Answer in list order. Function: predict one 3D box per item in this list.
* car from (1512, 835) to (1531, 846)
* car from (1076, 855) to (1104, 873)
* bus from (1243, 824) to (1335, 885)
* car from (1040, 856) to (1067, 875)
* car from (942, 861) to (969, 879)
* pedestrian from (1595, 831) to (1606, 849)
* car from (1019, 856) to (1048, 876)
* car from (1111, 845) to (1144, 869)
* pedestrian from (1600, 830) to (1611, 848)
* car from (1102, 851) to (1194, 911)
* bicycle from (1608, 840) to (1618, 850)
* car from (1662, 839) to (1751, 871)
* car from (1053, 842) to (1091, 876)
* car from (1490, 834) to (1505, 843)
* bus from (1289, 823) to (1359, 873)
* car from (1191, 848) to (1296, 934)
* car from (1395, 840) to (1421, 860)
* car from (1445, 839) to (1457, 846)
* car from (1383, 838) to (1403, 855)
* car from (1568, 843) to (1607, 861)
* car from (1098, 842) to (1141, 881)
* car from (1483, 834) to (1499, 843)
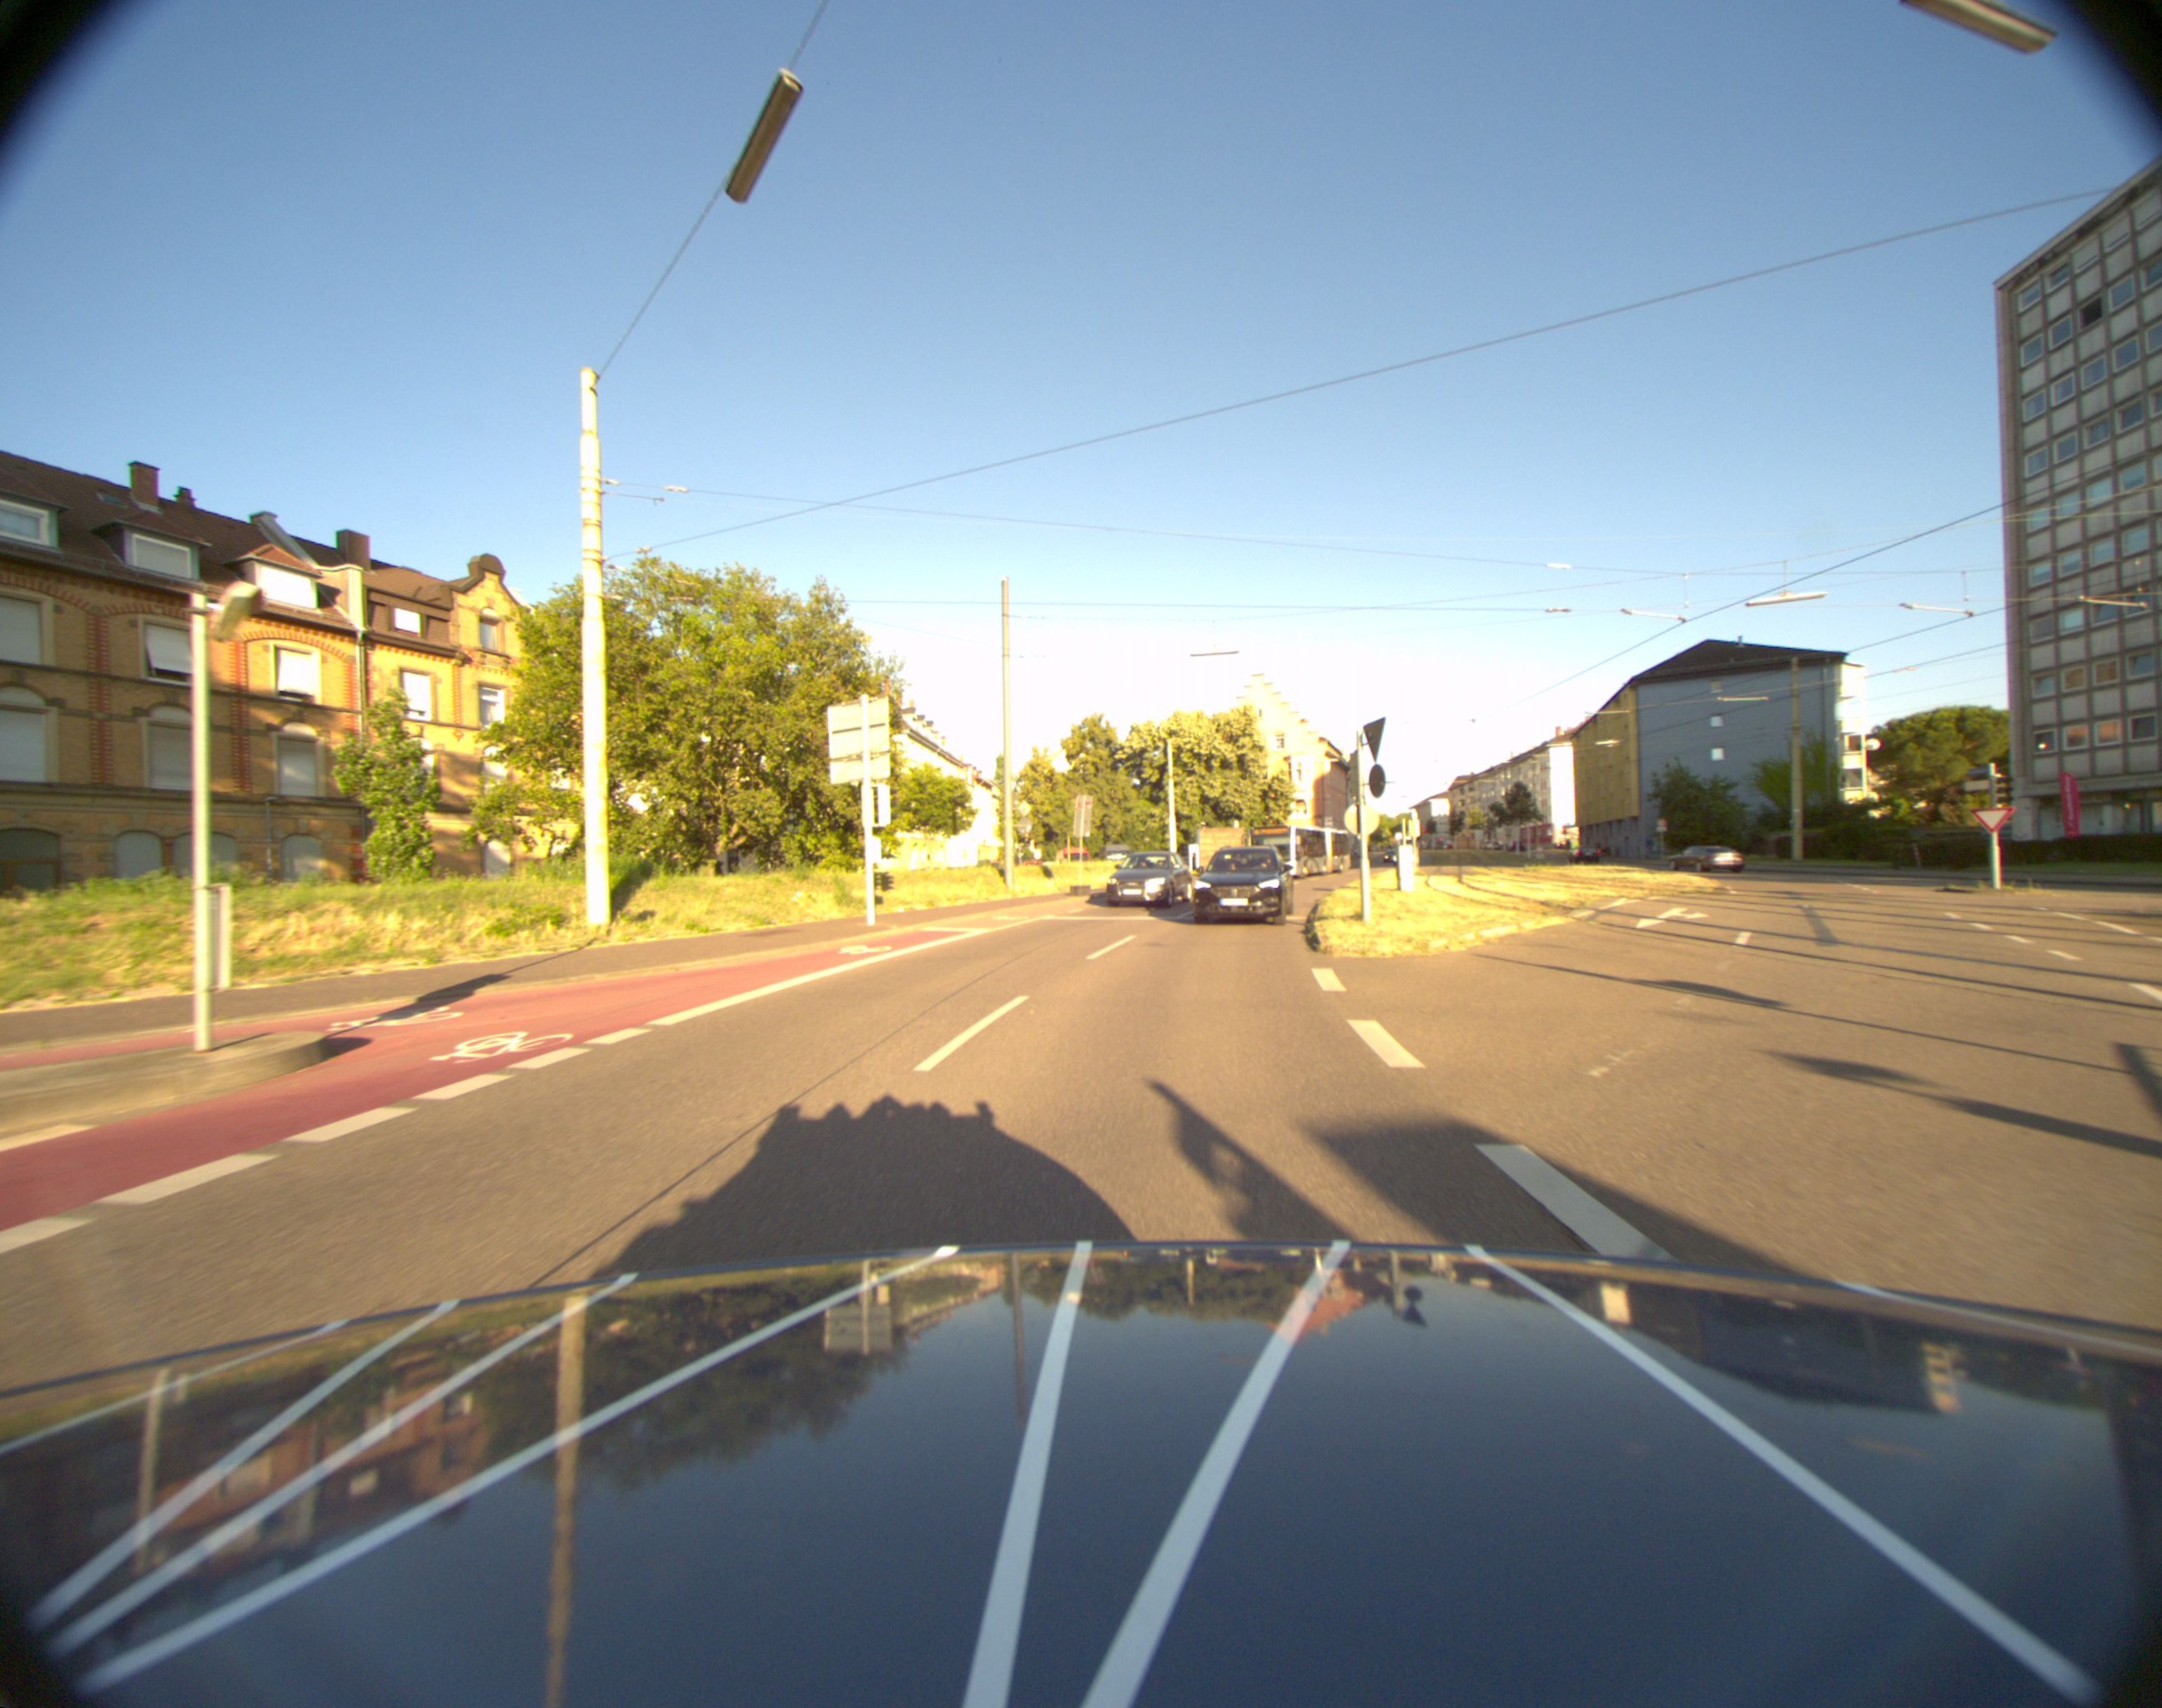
[{"bbox_3d":[65.710,-2.020,113.382,1.919,1.652,4.716,-1,0,23],"label":"car"},{"bbox_3d":[0.750,0.875,66.160,1.751,1.458,4.221,-2,0,-9],"label":"car"},{"bbox_3d":[12.448,-0.147,44.556,2.727,3.059,10.617,-3,1,28],"label":"bus"},{"bbox_3d":[-2.439,0.998,66.519,1.926,1.531,3.903,-2,0,-9],"label":"car"},{"bbox_3d":[-8.701,1.077,52.955,1.706,1.083,3.704,-2,0,-7],"label":"car"},{"bbox_3d":[51.940,-1.424,75.972,0.593,1.762,0.887,-6,-1,24],"label":"pedestrian"},{"bbox_3d":[-3.400,0.829,54.100,1.779,1.365,3.887,-2,0,-7],"label":"car"},{"bbox_3d":[4.097,0.278,67.488,1.926,1.967,4.745,-2,0,-9],"label":"car"},{"bbox_3d":[52.780,-1.491,76.514,0.617,1.684,0.707,-7,-1,24],"label":"pedestrian"},{"bbox_3d":[2.078,0.725,22.437,1.768,1.578,4.073,-1,0,19],"label":"car"},{"bbox_3d":[54.483,-0.917,77.810,0.427,0.919,1.915,-5,-1,26],"label":"bicycle"},{"bbox_3d":[33.836,0.003,41.267,1.654,1.587,4.589,-2,1,9],"label":"car"},{"bbox_3d":[-0.702,0.332,53.899,2.043,2.201,5.411,-2,0,-7],"label":"car"},{"bbox_3d":[72.101,-2.696,131.594,1.699,1.451,4.322,0,2,22],"label":"car"},{"bbox_3d":[17.455,-0.543,54.057,2.707,3.059,10.617,-3,1,28],"label":"bus"},{"bbox_3d":[3.706,0.704,16.799,1.785,1.615,4.221,-1,1,18],"label":"car"},{"bbox_3d":[30.501,-0.369,70.809,1.995,1.761,4.007,0,1,27],"label":"car"},{"bbox_3d":[87.992,-2.755,180.742,1.796,1.461,4.799,0,2,15],"label":"car"},{"bbox_3d":[36.207,-0.897,88.187,1.888,1.871,4.006,-1,1,26],"label":"car"},{"bbox_3d":[43.489,-0.162,65.324,1.778,1.473,4.405,0,1,20],"label":"car"},{"bbox_3d":[2.734,0.491,55.805,2.043,2.650,6.211,-2,0,-7],"label":"car"},{"bbox_3d":[81.141,-3.084,150.519,1.869,1.818,4.427,-2,0,17],"label":"car"}]
